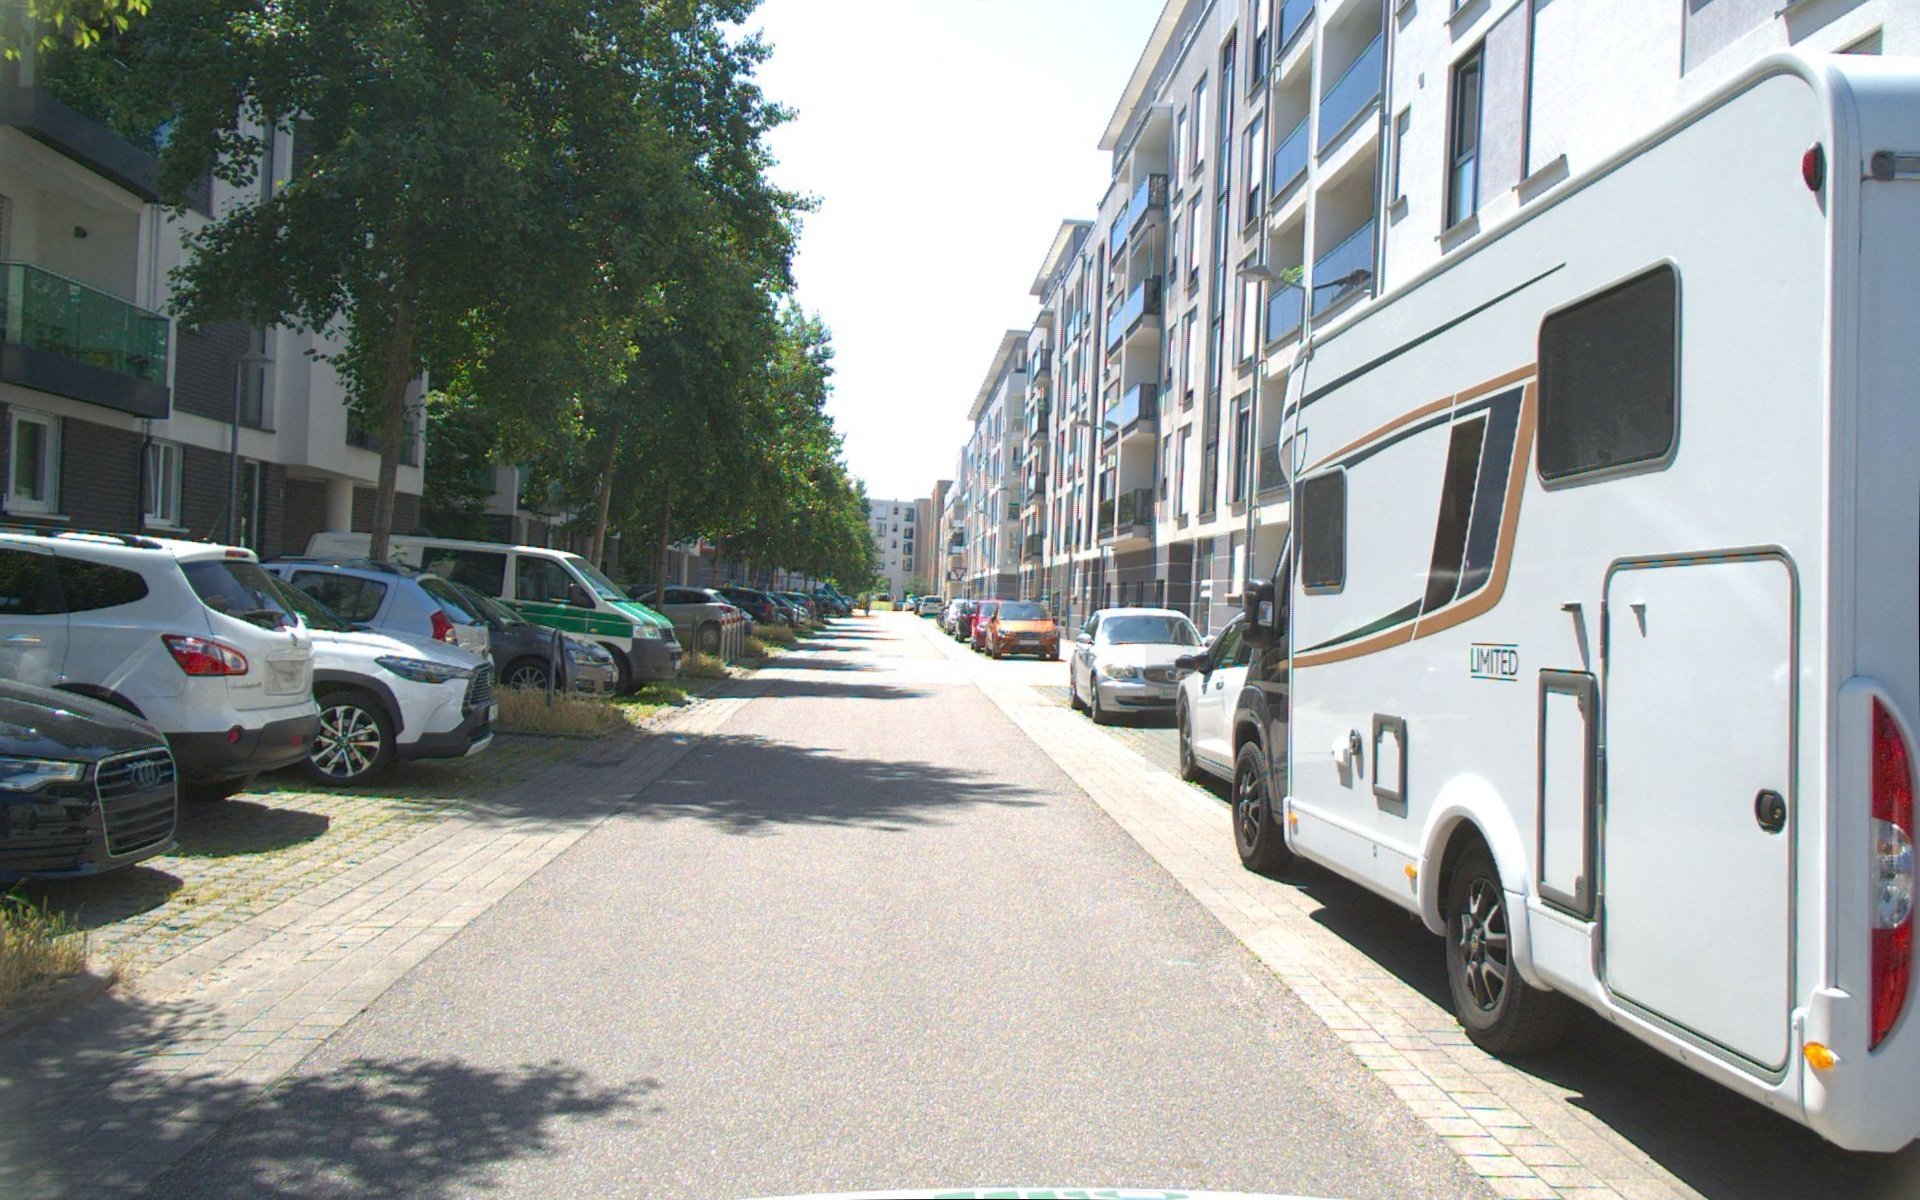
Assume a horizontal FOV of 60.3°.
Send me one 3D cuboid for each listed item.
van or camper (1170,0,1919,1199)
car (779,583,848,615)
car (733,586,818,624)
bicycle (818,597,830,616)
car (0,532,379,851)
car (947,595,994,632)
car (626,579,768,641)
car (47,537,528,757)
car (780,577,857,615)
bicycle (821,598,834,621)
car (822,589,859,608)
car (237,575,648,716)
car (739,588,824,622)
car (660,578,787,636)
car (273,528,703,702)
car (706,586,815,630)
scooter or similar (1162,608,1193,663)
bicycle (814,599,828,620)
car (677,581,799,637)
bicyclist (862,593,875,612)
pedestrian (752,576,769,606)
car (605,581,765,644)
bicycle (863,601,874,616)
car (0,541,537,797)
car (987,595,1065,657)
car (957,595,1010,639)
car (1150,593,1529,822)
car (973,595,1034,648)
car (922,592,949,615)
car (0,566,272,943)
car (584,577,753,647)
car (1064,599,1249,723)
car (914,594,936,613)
[{"bbox_3d":[2.865,0.067,6.987,2.390,2.957,7.820,3,-1,-4],"label":"van or camper"},{"bbox_3d":[-11.053,-0.071,125.331,5.042,2.156,2.310,3,0,-3],"label":"car"},{"bbox_3d":[-8.809,0.234,79.282,3.859,1.580,1.871,3,0,-3],"label":"car"},{"bbox_3d":[-8.883,0.422,108.113,0.560,1.194,1.765,5,1,-9],"label":"bicycle"},{"bbox_3d":[-5.851,0.425,9.983,3.899,1.657,1.949,3,0,-1],"label":"car"},{"bbox_3d":[0.418,0.556,70.079,1.797,1.531,4.348,0,0,-2],"label":"car"},{"bbox_3d":[-7.840,0.290,49.632,3.907,1.619,1.883,3,0,-2],"label":"car"},{"bbox_3d":[-6.046,0.414,15.247,3.607,1.705,1.851,3,0,-3],"label":"car"},{"bbox_3d":[-11.151,-0.290,130.761,5.903,2.865,2.604,1,0,-3],"label":"car"},{"bbox_3d":[-7.192,0.493,89.697,0.365,1.201,1.814,1,0,-14],"label":"bicycle"},{"bbox_3d":[-13.646,-0.212,189.521,3.903,2.049,2.001,2,0,4],"label":"car"},{"bbox_3d":[-6.096,0.527,19.945,4.334,1.516,1.998,2,0,-5],"label":"car"},{"bbox_3d":[-8.838,0.261,82.178,4.100,1.512,1.956,3,-1,-6],"label":"car"},{"bbox_3d":[-7.755,0.234,54.549,3.907,1.657,1.932,3,0,-3],"label":"car"},{"bbox_3d":[-6.347,0.197,22.777,5.233,2.147,2.187,1,0,-1],"label":"car"},{"bbox_3d":[-8.020,0.316,66.731,4.275,1.740,1.998,0,0,-5],"label":"car"},{"bbox_3d":[5.103,0.816,38.789,0.534,1.247,1.530,2,0,12],"label":"scooter or similar"},{"bbox_3d":[-7.545,0.513,89.652,0.426,1.147,1.971,1,0,-14],"label":"bicycle"},{"bbox_3d":[-7.621,0.299,57.083,3.906,1.679,1.918,3,0,-1],"label":"car"},{"bbox_3d":[-7.239,0.175,131.048,0.935,1.485,0.799,1,0,-3],"label":"bicyclist"},{"bbox_3d":[-13.847,-0.641,114.936,0.988,2.049,1.129,1,0,0],"label":"pedestrian"},{"bbox_3d":[-7.788,0.337,47.071,4.231,1.501,1.792,3,0,-3],"label":"car"},{"bbox_3d":[-7.267,0.637,131.179,0.880,1.149,2.039,1,0,-3],"label":"bicycle"},{"bbox_3d":[-5.692,0.466,12.624,4.473,1.621,1.963,4,0,-8],"label":"car"},{"bbox_3d":[1.685,0.644,43.428,1.702,1.513,4.256,0,0,-2],"label":"car"},{"bbox_3d":[0.792,0.584,58.700,1.610,1.488,4.115,0,0,-3],"label":"car"},{"bbox_3d":[2.815,0.718,13.277,1.771,1.531,4.257,0,0,-5],"label":"car"},{"bbox_3d":[1.247,0.599,48.946,1.563,1.511,3.674,0,0,-2],"label":"car"},{"bbox_3d":[-1.845,0.262,125.770,1.957,1.686,4.113,1,0,-2],"label":"car"},{"bbox_3d":[-5.941,0.501,7.530,4.753,1.482,1.828,4,0,-3],"label":"car"},{"bbox_3d":[-7.807,0.316,44.623,4.168,1.544,1.923,4,0,-3],"label":"car"},{"bbox_3d":[2.531,0.743,22.283,1.808,1.441,4.424,2,0,-2],"label":"car"},{"bbox_3d":[-3.039,0.310,145.836,1.721,1.579,4.000,2,0,1],"label":"car"}]
